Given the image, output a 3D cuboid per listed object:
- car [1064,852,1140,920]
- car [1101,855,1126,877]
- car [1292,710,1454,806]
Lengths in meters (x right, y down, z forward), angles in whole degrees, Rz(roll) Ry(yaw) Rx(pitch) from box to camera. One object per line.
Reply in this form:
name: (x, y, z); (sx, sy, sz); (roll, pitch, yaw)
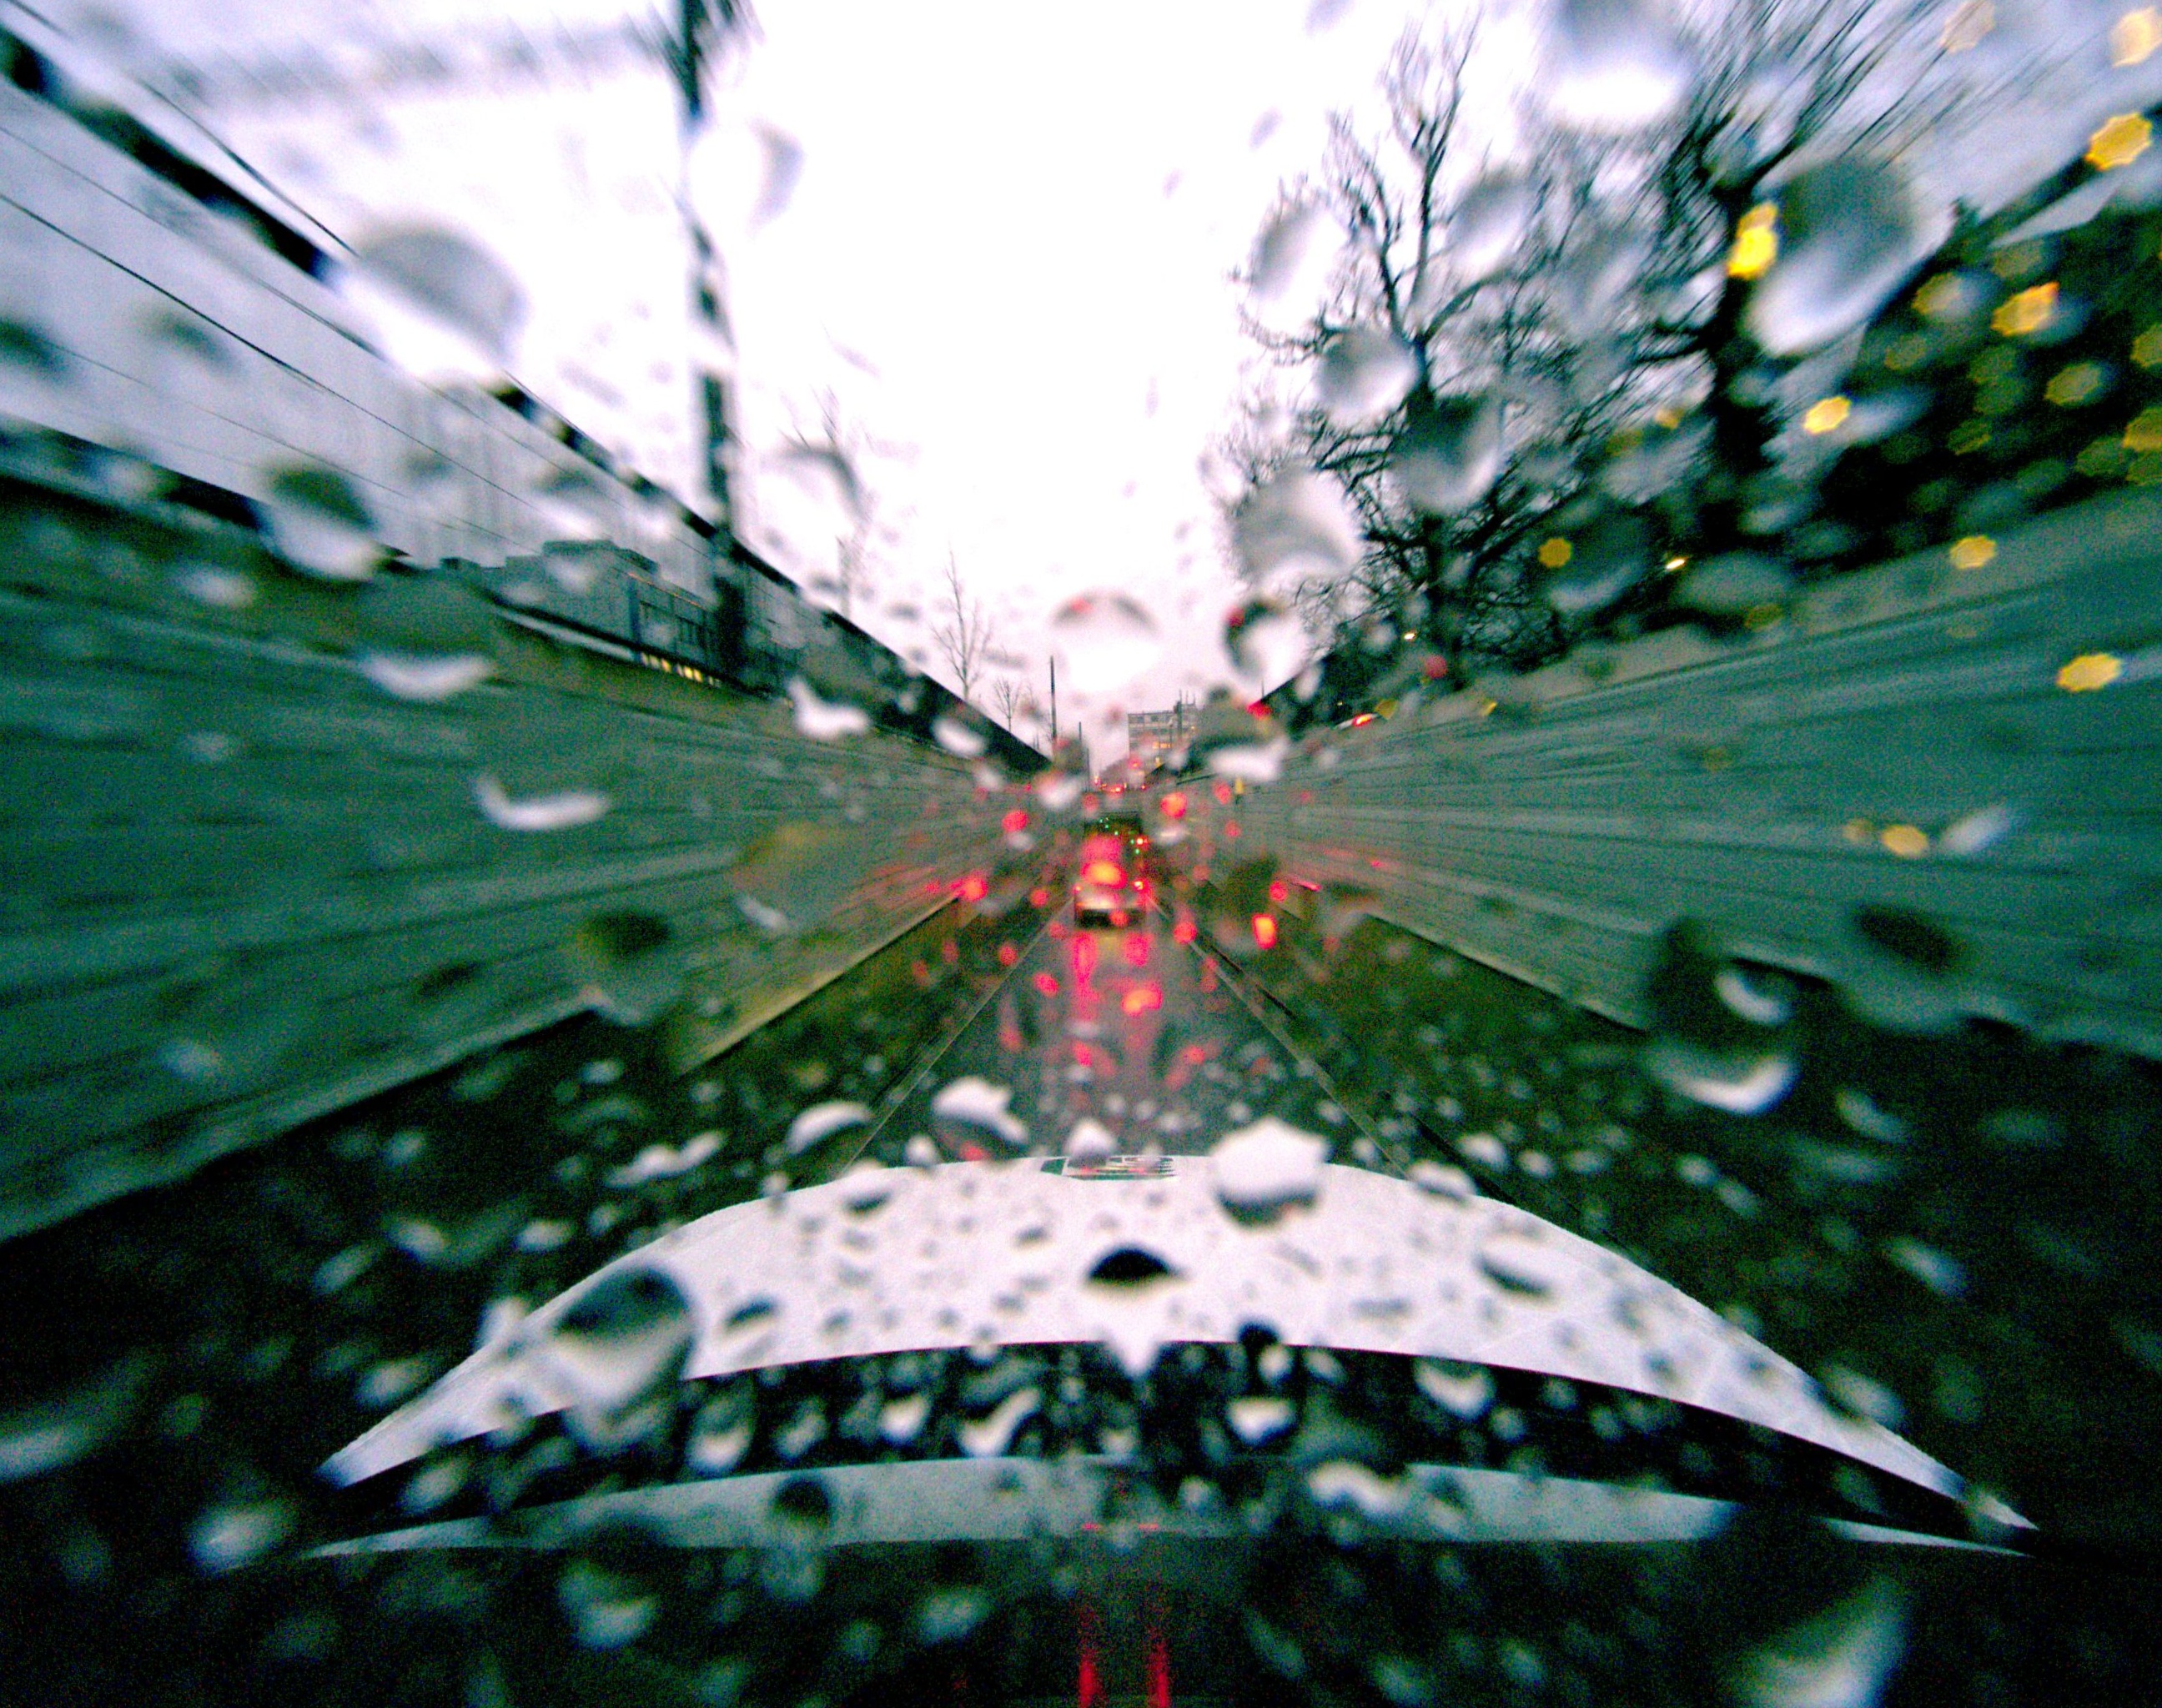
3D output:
car: (0.611, 0.725, 20.533); (1.715, 1.479, 4.004); (0, 1, 4)
car: (2.614, 0.944, 66.389); (1.913, 1.485, 4.002); (0, 3, 1)
car: (5.099, -1.623, 14.795); (1.715, 1.479, 4.005); (0, 3, 4)
